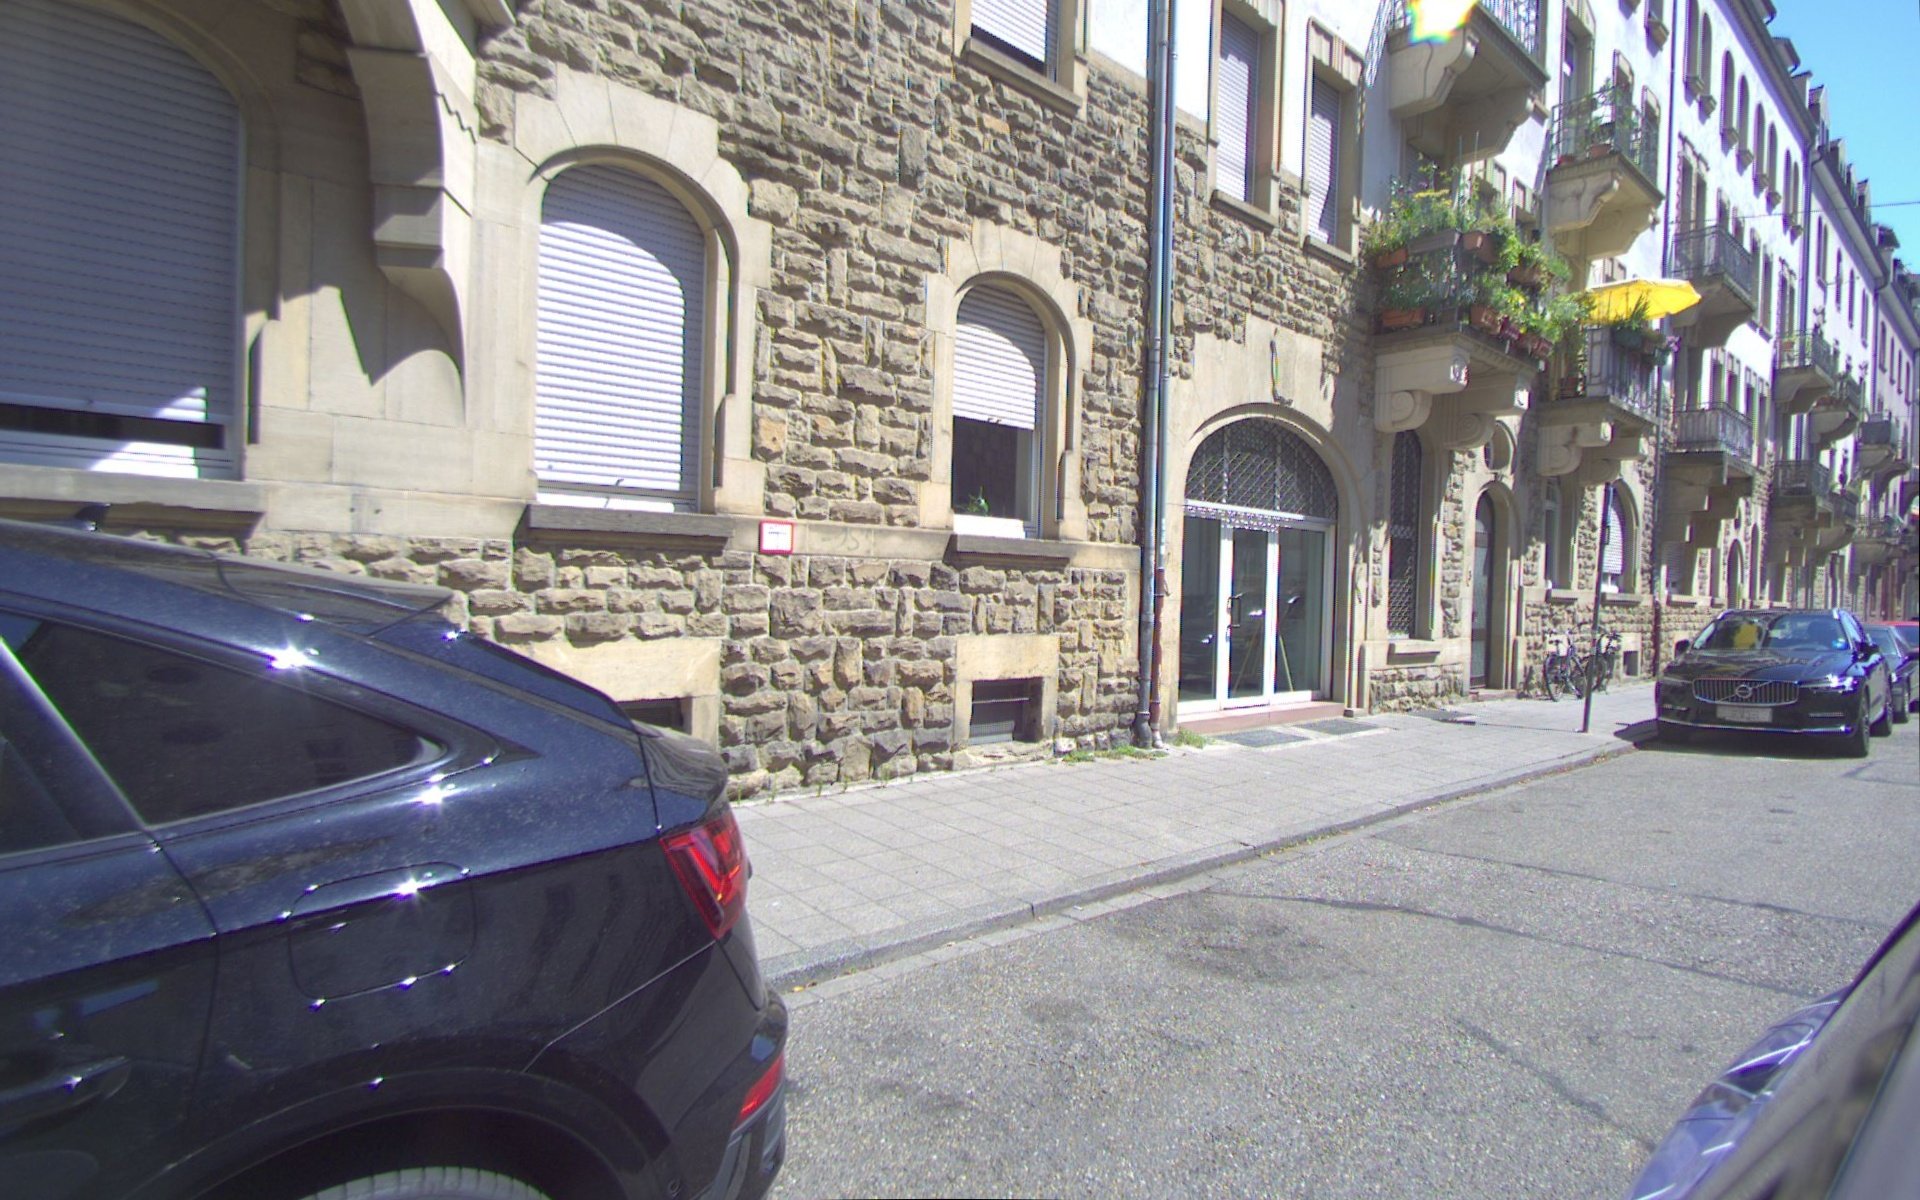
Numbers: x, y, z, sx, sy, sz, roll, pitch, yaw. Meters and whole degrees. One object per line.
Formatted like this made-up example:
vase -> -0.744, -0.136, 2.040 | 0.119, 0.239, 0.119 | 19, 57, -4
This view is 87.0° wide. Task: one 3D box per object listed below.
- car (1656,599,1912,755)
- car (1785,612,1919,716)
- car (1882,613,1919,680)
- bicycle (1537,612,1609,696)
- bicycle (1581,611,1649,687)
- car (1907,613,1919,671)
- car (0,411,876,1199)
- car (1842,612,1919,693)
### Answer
car -> 10.259, 0.792, 12.472 | 4.527, 1.587, 1.835 | 0, -1, -43
car -> 14.216, 0.907, 15.861 | 3.906, 1.416, 1.513 | 1, -1, -43
car -> 22.600, 1.038, 23.314 | 3.789, 1.471, 1.592 | 0, -1, -41
bicycle -> 9.574, 0.812, 15.779 | 1.743, 1.223, 0.385 | 1, 2, -40
bicycle -> 11.254, 0.819, 17.371 | 1.743, 1.223, 0.442 | 1, 2, -40
car -> 26.530, 1.081, 26.638 | 4.514, 1.471, 1.720 | 0, -1, -39
car -> -2.275, 0.614, 0.940 | 4.276, 1.617, 1.737 | 1, -1, -44
car -> 18.750, 0.972, 19.962 | 3.776, 1.471, 1.573 | 0, -1, -41
